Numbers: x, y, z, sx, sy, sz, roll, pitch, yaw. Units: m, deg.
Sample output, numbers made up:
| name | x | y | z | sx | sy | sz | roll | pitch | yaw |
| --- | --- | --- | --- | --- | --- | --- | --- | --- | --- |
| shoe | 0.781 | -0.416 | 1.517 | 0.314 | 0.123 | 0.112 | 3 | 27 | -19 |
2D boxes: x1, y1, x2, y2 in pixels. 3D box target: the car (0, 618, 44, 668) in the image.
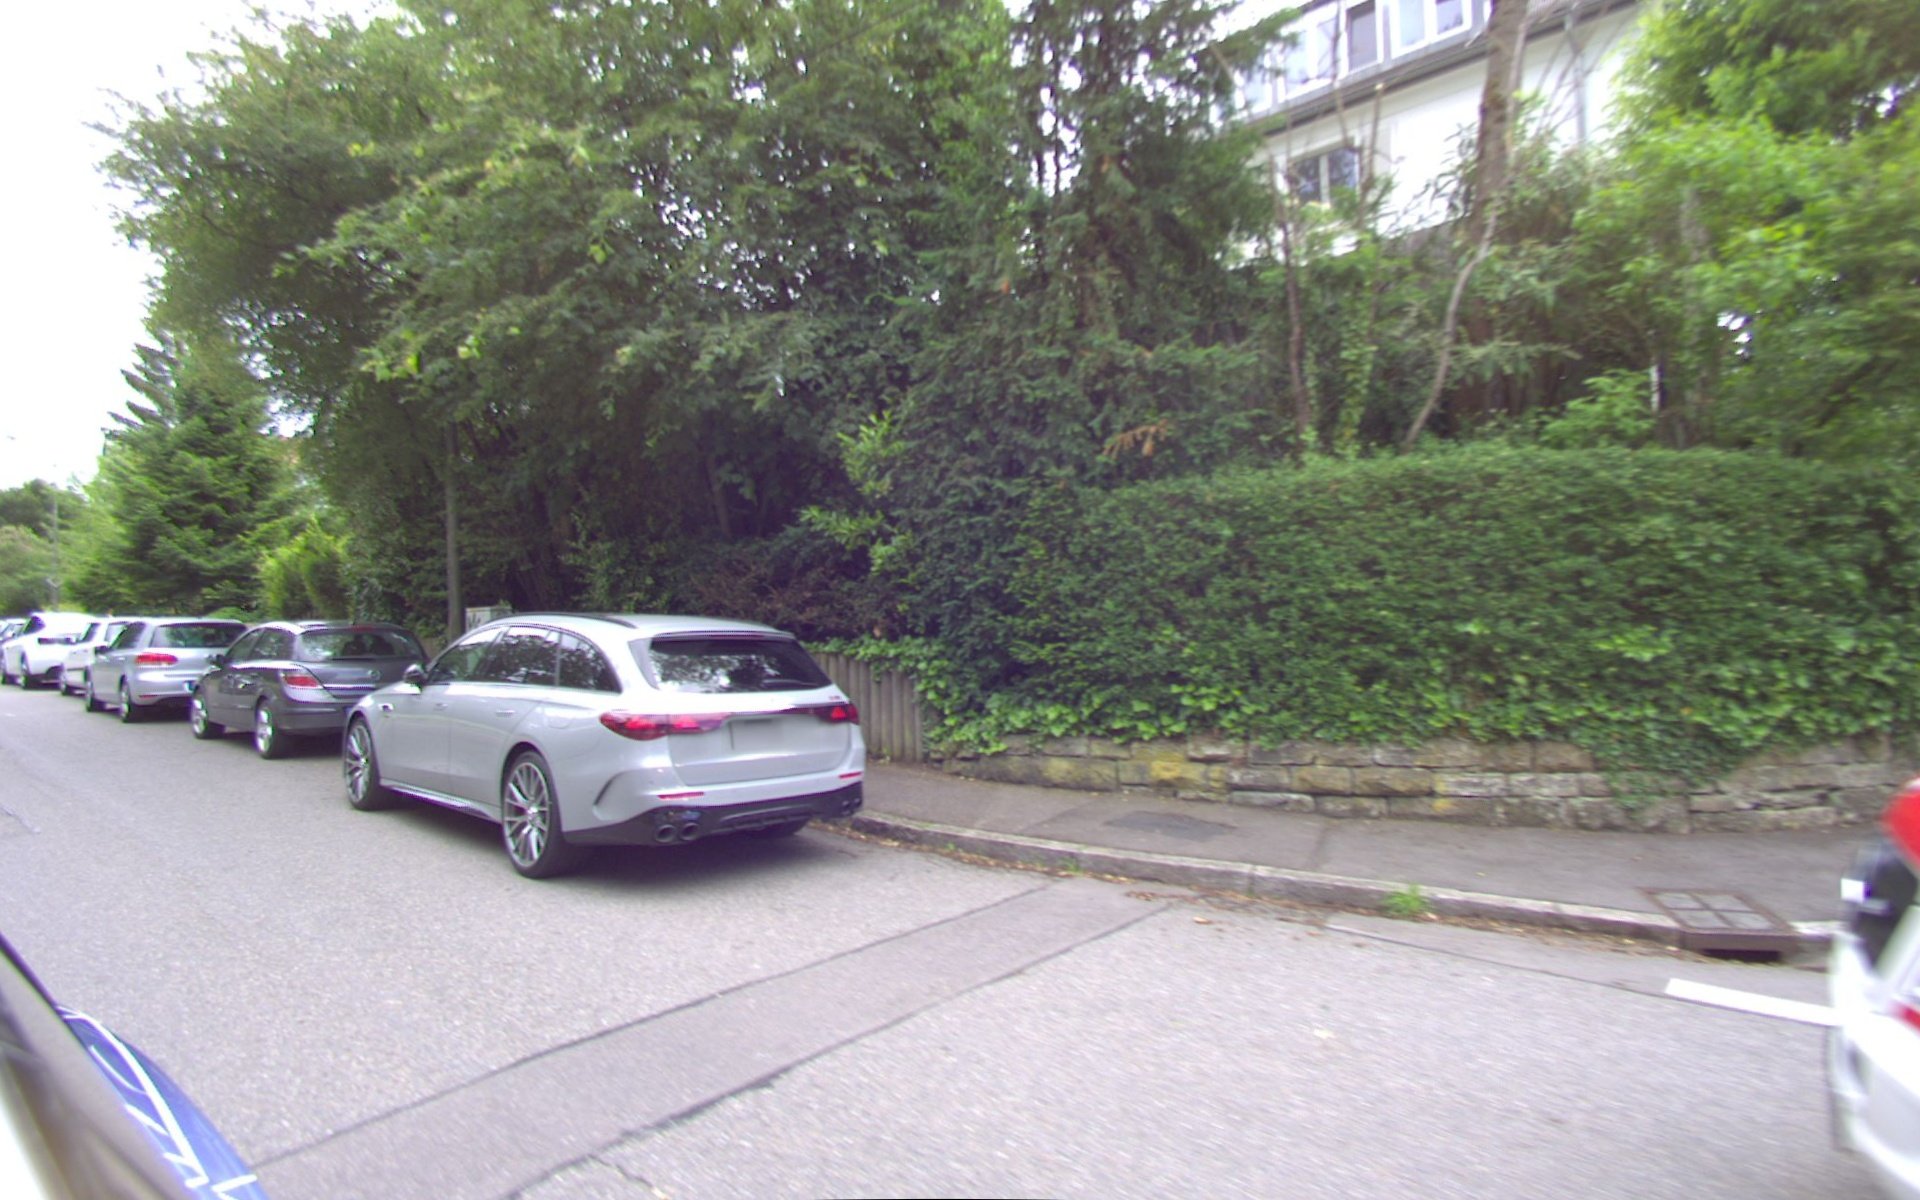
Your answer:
| name | x | y | z | sx | sy | sz | roll | pitch | yaw |
| --- | --- | --- | --- | --- | --- | --- | --- | --- | --- |
| car | -29.624 | 1.286 | 30.942 | 4.257 | 1.450 | 1.717 | -1 | -2 | 38 |

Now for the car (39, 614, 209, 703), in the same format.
| name | x | y | z | sx | sy | sz | roll | pitch | yaw |
| --- | --- | --- | --- | --- | --- | --- | --- | --- | --- |
| car | -15.918 | 1.066 | 19.217 | 3.812 | 1.516 | 1.703 | -1 | -3 | 39 |

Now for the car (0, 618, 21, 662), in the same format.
| name | x | y | z | sx | sy | sz | roll | pitch | yaw |
| --- | --- | --- | --- | --- | --- | --- | --- | --- | --- |
| car | -34.277 | 1.368 | 35.125 | 4.905 | 1.450 | 1.830 | -1 | -2 | 40 |

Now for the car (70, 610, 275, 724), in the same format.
| name | x | y | z | sx | sy | sz | roll | pitch | yaw |
| --- | --- | --- | --- | --- | --- | --- | --- | --- | --- |
| car | -12.087 | 0.950 | 15.448 | 4.006 | 1.516 | 1.702 | -1 | -3 | 41 |

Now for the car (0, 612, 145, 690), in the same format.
| name | x | y | z | sx | sy | sz | roll | pitch | yaw |
| --- | --- | --- | --- | --- | --- | --- | --- | --- | --- |
| car | -19.984 | 1.092 | 22.524 | 4.598 | 1.574 | 1.897 | -1 | -3 | 39 |

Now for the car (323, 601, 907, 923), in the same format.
| name | x | y | z | sx | sy | sz | roll | pitch | yaw |
| --- | --- | --- | --- | --- | --- | --- | --- | --- | --- |
| car | -2.705 | 0.828 | 7.108 | 4.863 | 1.516 | 1.778 | -1 | -3 | 43 |

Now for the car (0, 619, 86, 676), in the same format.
| name | x | y | z | sx | sy | sz | roll | pitch | yaw |
| --- | --- | --- | --- | --- | --- | --- | --- | --- | --- |
| car | -25.367 | 1.244 | 27.541 | 4.114 | 1.450 | 1.815 | -1 | -2 | 41 |

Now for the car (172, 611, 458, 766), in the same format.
| name | x | y | z | sx | sy | sz | roll | pitch | yaw |
| --- | --- | --- | --- | --- | --- | --- | --- | --- | --- |
| car | -7.682 | 0.921 | 11.916 | 4.058 | 1.516 | 1.702 | -1 | -3 | 41 |
